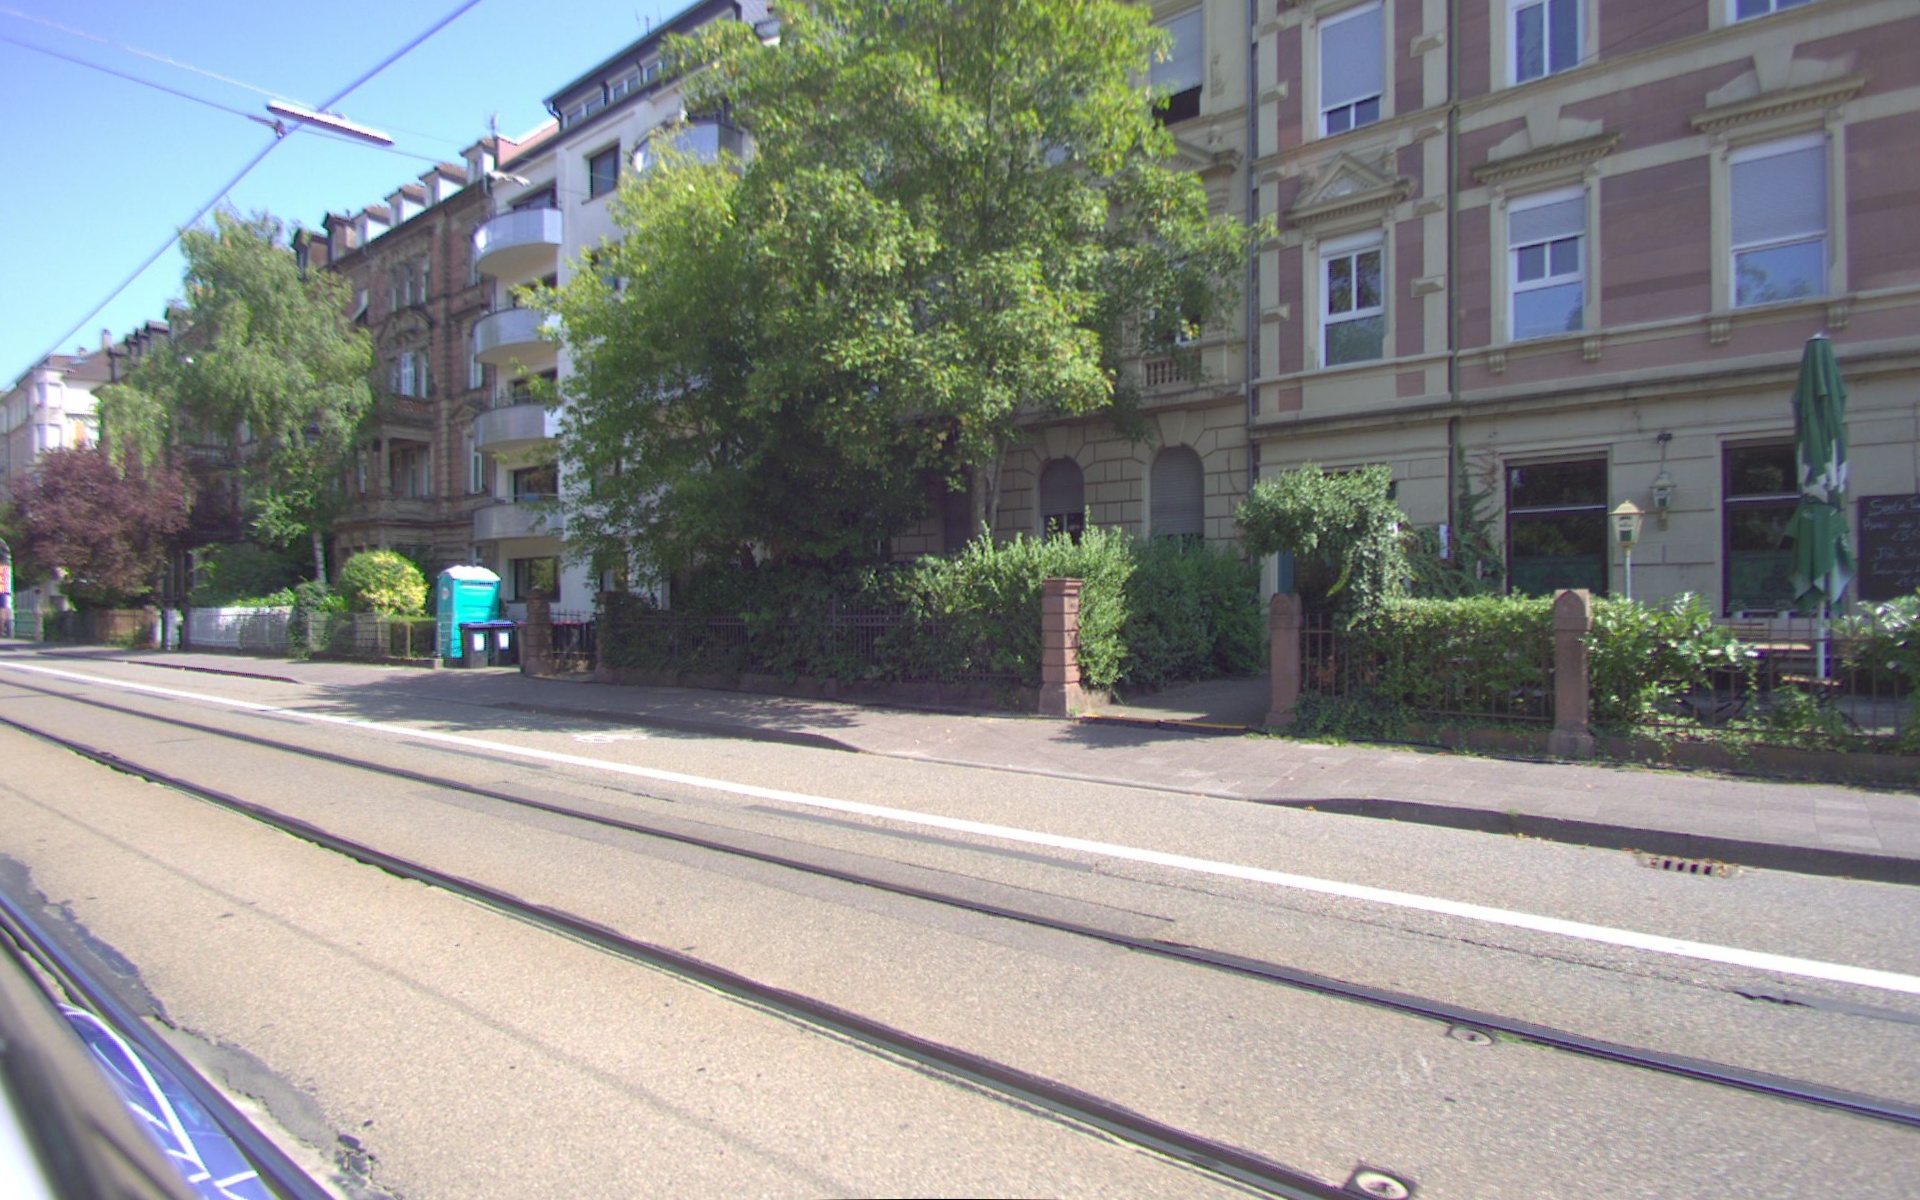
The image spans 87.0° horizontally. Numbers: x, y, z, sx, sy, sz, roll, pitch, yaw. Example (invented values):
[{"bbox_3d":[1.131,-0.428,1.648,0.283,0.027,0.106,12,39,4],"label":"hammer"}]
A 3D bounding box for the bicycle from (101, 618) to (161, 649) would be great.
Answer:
[{"bbox_3d":[-33.951,1.348,41.451,0.716,1.191,1.794,-1,0,40],"label":"bicycle"}]

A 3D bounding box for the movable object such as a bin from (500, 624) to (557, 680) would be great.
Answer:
[{"bbox_3d":[-8.886,1.059,20.842,0.803,1.084,0.778,-1,0,41],"label":"movable object such as a bin"}]

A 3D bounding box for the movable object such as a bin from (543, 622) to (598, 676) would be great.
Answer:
[{"bbox_3d":[-8.231,1.017,21.377,0.803,1.084,0.778,-1,0,41],"label":"movable object such as a bin"}]

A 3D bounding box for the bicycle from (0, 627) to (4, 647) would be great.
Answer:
[{"bbox_3d":[-51.970,2.006,54.543,1.565,1.107,0.386,-2,-1,36],"label":"bicycle"}]

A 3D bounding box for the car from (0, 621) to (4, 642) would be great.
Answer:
[{"bbox_3d":[-74.849,2.455,76.109,1.877,1.606,4.060,-2,0,40],"label":"car"}]

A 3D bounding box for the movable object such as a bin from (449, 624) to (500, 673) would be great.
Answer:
[{"bbox_3d":[-11.291,1.109,23.539,0.753,1.084,0.779,-1,0,37],"label":"movable object such as a bin"}]
